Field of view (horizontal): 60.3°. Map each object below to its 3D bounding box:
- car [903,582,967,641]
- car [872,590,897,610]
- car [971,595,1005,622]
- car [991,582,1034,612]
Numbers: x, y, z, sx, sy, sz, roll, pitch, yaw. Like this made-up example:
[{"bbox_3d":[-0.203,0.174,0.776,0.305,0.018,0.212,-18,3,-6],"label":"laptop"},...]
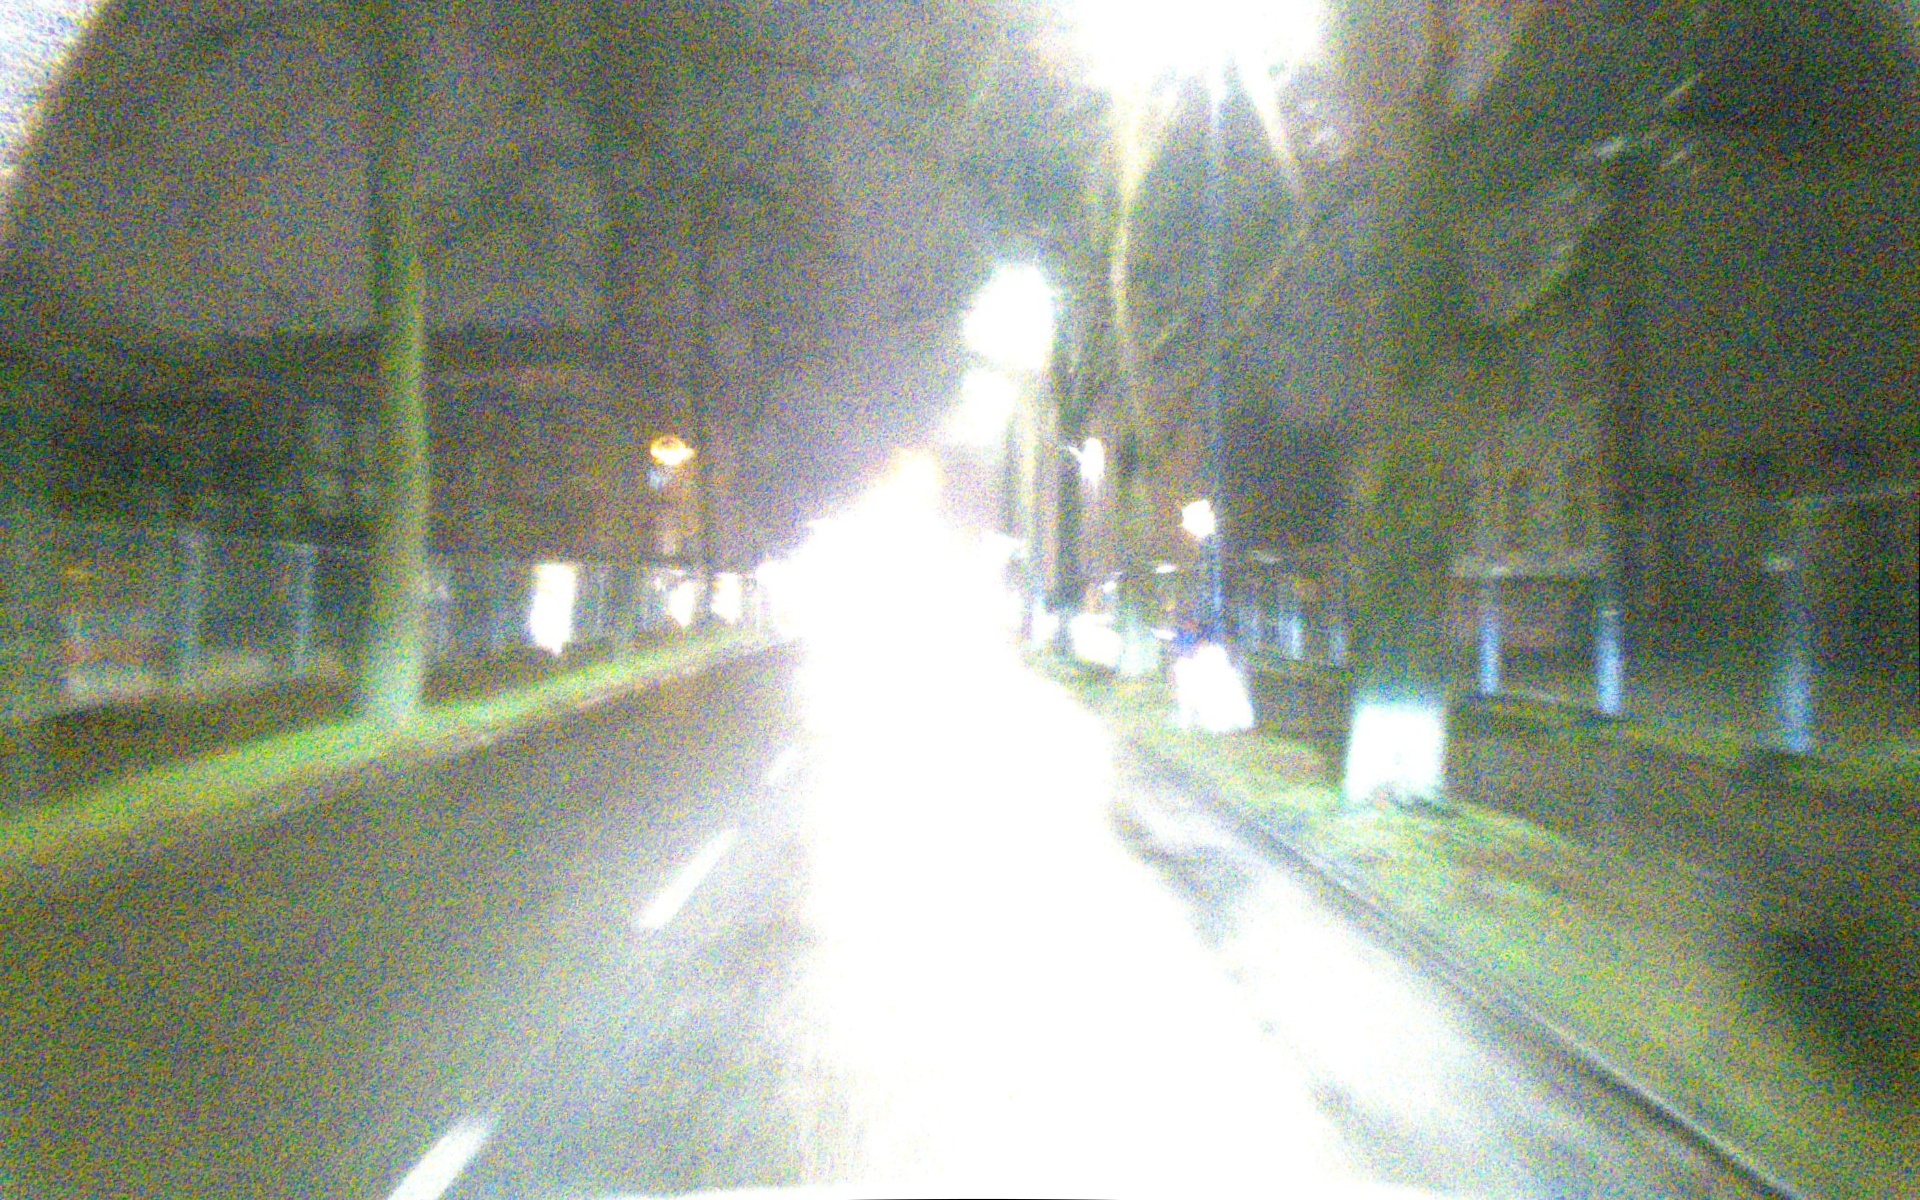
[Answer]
[{"bbox_3d":[-0.827,0.327,52.817,1.953,1.713,3.999,0,2,-2],"label":"car"},{"bbox_3d":[-5.614,-0.015,123.391,1.709,1.458,4.000,-1,0,0],"label":"car"},{"bbox_3d":[1.648,0.481,99.029,1.679,1.515,4.433,-1,0,-4],"label":"car"},{"bbox_3d":[2.785,-0.191,88.130,1.754,1.474,4.787,-2,1,-4],"label":"car"}]
